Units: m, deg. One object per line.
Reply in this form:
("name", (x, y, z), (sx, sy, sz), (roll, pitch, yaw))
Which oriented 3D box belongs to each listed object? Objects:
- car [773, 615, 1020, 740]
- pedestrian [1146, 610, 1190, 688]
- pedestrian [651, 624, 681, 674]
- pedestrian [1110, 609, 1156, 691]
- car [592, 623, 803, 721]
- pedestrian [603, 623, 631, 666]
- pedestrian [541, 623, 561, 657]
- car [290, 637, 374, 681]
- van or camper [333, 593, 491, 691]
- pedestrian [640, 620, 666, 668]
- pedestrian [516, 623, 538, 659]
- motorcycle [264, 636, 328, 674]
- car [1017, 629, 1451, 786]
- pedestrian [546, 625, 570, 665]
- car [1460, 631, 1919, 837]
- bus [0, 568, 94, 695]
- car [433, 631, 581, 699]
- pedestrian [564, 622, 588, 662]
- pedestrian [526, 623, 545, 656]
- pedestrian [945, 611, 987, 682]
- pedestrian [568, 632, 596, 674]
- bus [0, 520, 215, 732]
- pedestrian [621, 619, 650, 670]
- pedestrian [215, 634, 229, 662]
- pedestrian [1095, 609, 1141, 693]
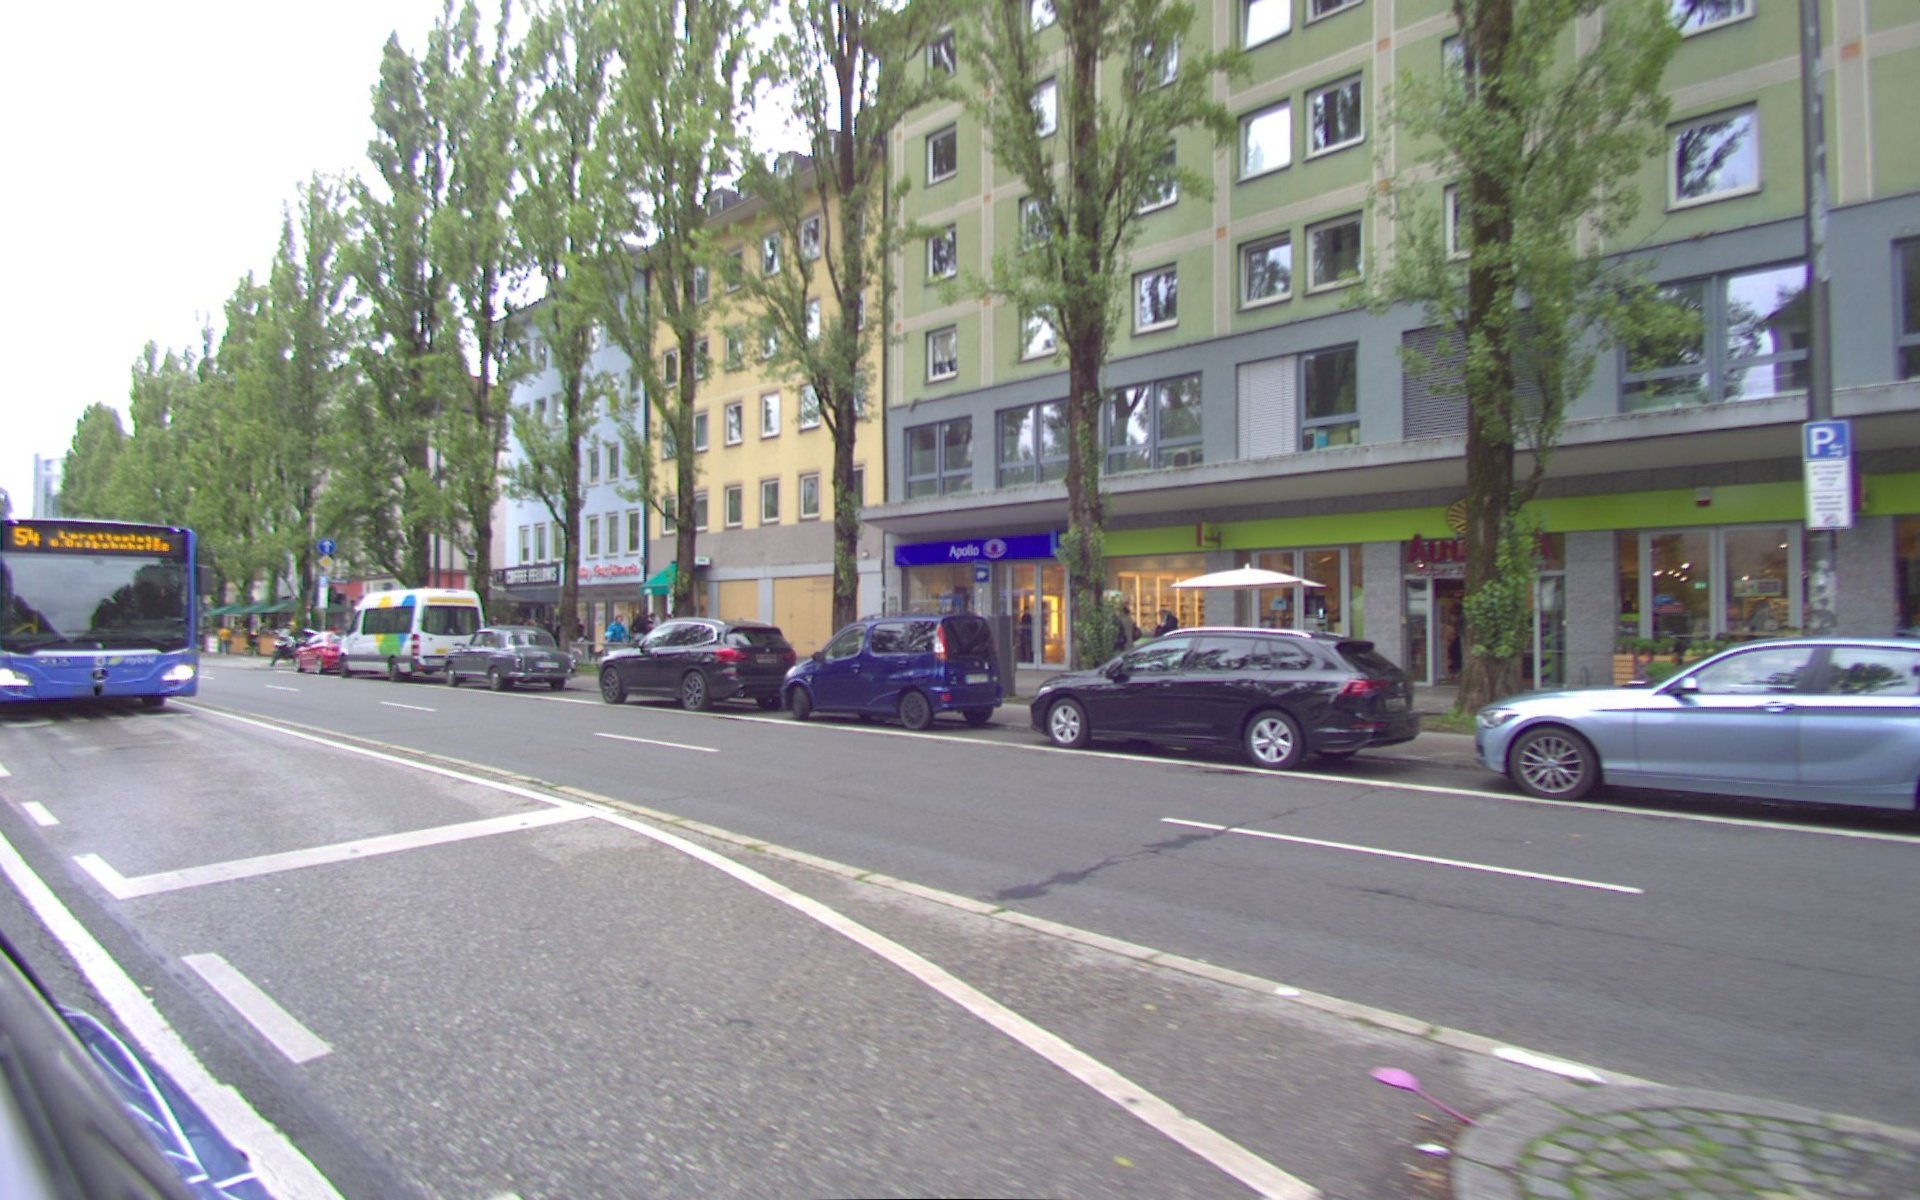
("car", (-1.058, 1.137, 15.739), (3.769, 1.699, 1.601), (-1, -4, 40))
("pedestrian", (4.776, 1.113, 23.256), (0.716, 1.768, 0.713), (-2, -2, 43))
("pedestrian", (-9.892, 1.644, 34.061), (0.712, 1.663, 0.713), (-2, -3, 43))
("pedestrian", (3.900, 1.116, 22.822), (0.716, 1.808, 0.739), (-2, -2, 43))
("car", (-5.035, 1.272, 19.061), (4.503, 1.645, 1.684), (-1, -3, 43))
("pedestrian", (-11.901, 1.542, 35.128), (0.550, 1.449, 0.759), (-2, -2, 38))
("pedestrian", (-18.028, 1.755, 44.585), (0.550, 1.449, 0.602), (-2, -2, 38))
("car", (-21.438, 1.973, 34.492), (3.762, 1.422, 1.538), (-2, -2, 44))
("van or camper", (-16.180, 1.204, 29.688), (6.644, 2.570, 2.102), (-2, -2, 43))
("pedestrian", (-11.209, 1.591, 36.951), (0.724, 1.717, 0.632), (-2, -3, 42))
("pedestrian", (-17.646, 1.686, 41.287), (0.550, 1.449, 0.641), (-2, -2, 38))
("motorcycle", (-25.683, 2.119, 39.196), (0.569, 1.432, 1.999), (-2, -2, 35))
("car", (2.958, 1.069, 11.683), (4.585, 1.457, 1.684), (-1, -2, 43))
("pedestrian", (-16.912, 1.901, 42.531), (0.678, 1.663, 0.713), (-2, -3, 43))
("car", (6.660, 0.984, 8.219), (4.399, 1.428, 1.640), (-1, -3, 42))
("bus", (-26.637, 0.911, 27.915), (12.858, 2.925, 2.768), (-2, -2, 43))
("car", (-11.272, 1.554, 25.053), (4.259, 1.541, 1.685), (-1, -3, 41))
("pedestrian", (-16.347, 1.786, 43.126), (0.706, 1.663, 0.713), (-2, -3, 43))
("pedestrian", (-18.502, 1.711, 44.105), (0.551, 1.449, 0.601), (-2, -2, 41))
("pedestrian", (0.147, 1.104, 24.107), (0.712, 1.663, 0.713), (-2, -3, 43))
("pedestrian", (-13.095, 1.833, 35.030), (0.674, 1.449, 0.605), (-1, -2, 25))
("bus", (-17.267, 0.543, 19.137), (12.857, 2.925, 2.768), (-2, -2, 43))
("pedestrian", (-11.677, 1.594, 36.394), (0.723, 1.779, 0.723), (-2, -3, 42))
("pedestrian", (-42.527, 2.745, 58.331), (0.600, 1.601, 0.552), (1, -2, -36))
("pedestrian", (3.490, 1.122, 22.357), (0.716, 1.808, 0.739), (-2, -2, 43))
